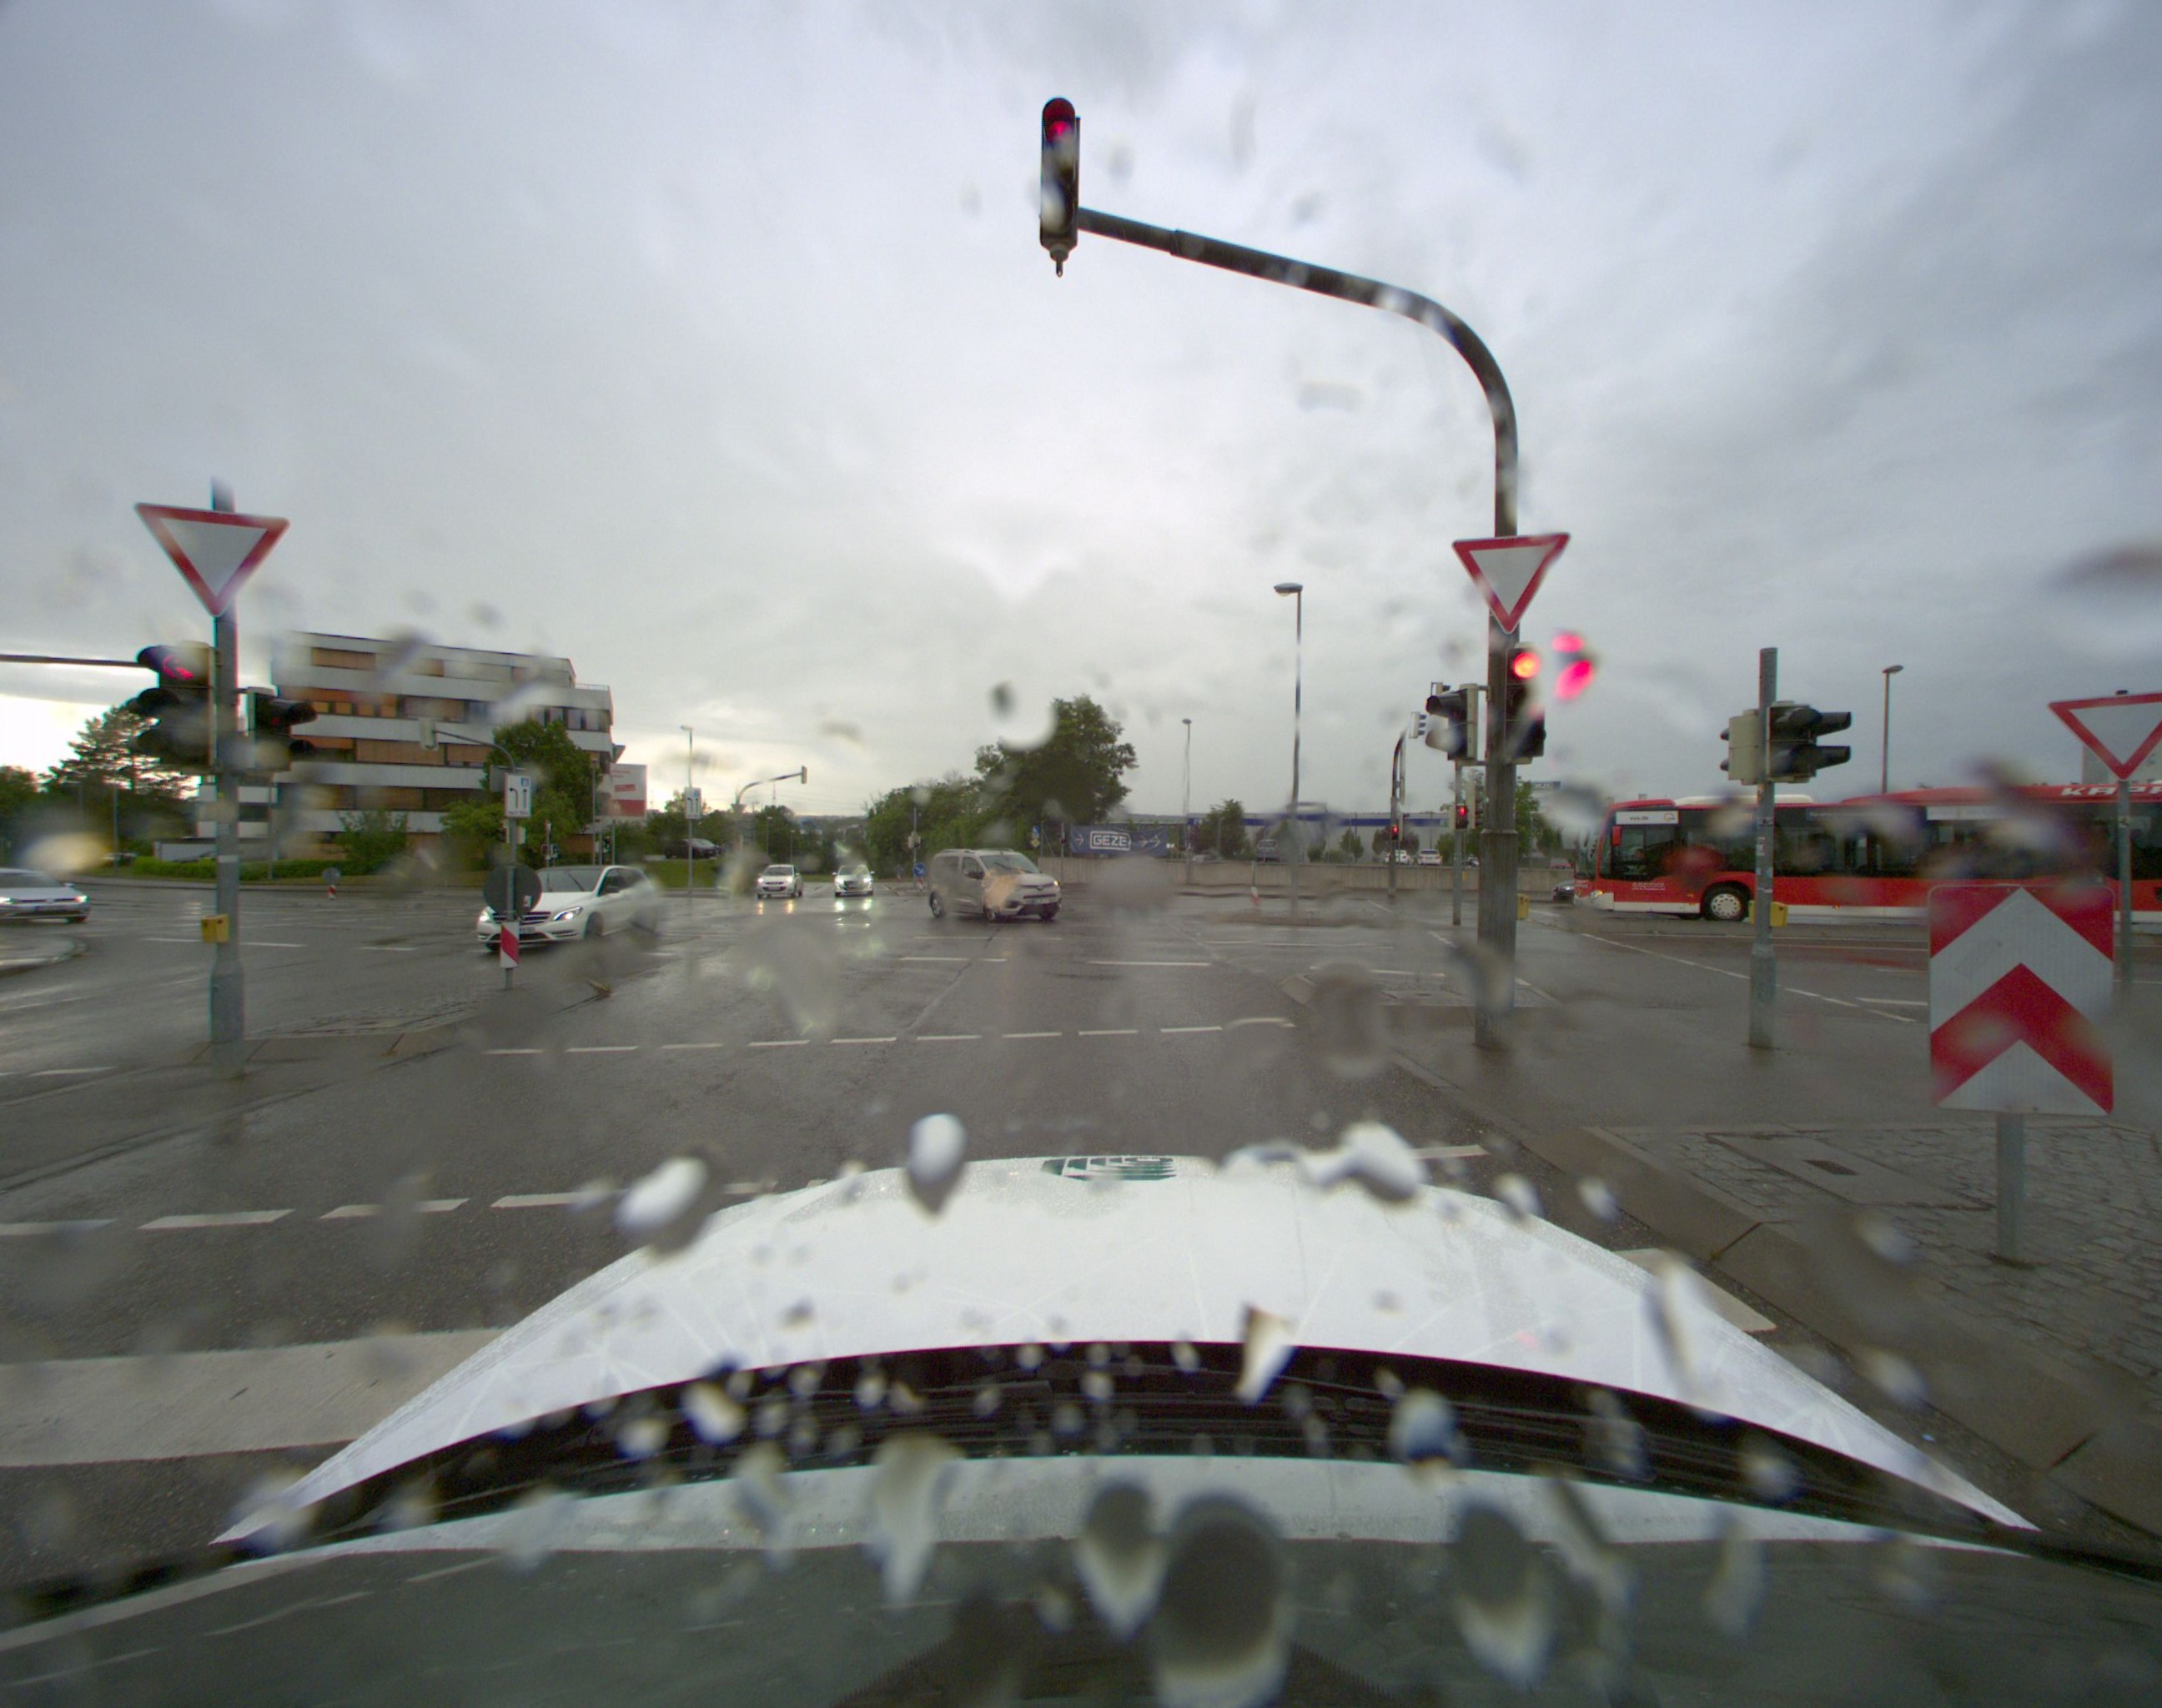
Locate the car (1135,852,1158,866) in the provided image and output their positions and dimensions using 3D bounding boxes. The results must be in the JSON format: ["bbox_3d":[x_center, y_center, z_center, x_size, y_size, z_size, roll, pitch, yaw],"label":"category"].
[{"bbox_3d":[7.761,0.574,95.903,1.651,1.606,3.550,-1,-1,23],"label":"car"}]

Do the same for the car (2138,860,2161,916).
[{"bbox_3d":[31.675,0.946,21.488,4.344,1.538,1.834,0,0,18],"label":"car"}]

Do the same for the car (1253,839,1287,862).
[{"bbox_3d":[13.347,-0.248,57.286,1.727,1.553,3.550,-1,-1,23],"label":"car"}]

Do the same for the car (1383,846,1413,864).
[{"bbox_3d":[26.467,0.103,67.886,1.800,1.434,4.128,-1,-1,28],"label":"car"}]

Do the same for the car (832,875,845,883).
[{"bbox_3d":[-43.804,4.478,147.166,1.660,1.494,3.989,0,-1,-7],"label":"car"}]

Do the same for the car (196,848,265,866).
[{"bbox_3d":[-70.119,0.218,67.224,3.779,1.399,1.977,0,0,-40],"label":"car"}]

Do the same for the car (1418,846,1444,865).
[{"bbox_3d":[28.895,0.125,67.196,1.841,1.526,4.127,-1,-1,25],"label":"car"}]

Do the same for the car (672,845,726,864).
[{"bbox_3d":[-33.931,0.032,72.397,3.958,1.586,1.909,0,-2,14],"label":"car"}]

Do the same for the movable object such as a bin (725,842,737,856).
[{"bbox_3d":[-37.766,-0.525,87.887,1.089,1.437,1.434,1,-3,-25],"label":"movable object such as a bin"}]

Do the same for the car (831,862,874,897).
[{"bbox_3d":[-10.822,1.154,38.431,1.870,1.508,3.957,0,-1,-17],"label":"car"}]

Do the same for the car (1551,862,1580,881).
[{"bbox_3d":[43.217,1.518,72.708,1.905,1.589,3.811,0,0,25],"label":"car"}]

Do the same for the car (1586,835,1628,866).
[{"bbox_3d":[35.361,-0.215,54.786,1.727,2.014,3.844,-1,-1,23],"label":"car"}]

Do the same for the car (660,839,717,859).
[{"bbox_3d":[-33.433,-0.434,69.352,3.962,1.586,1.907,0,-2,10],"label":"car"}]

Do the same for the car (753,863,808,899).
[{"bbox_3d":[-14.035,1.216,38.262,1.619,1.505,3.811,-2,0,-8],"label":"car"}]

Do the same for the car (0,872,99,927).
[{"bbox_3d":[-28.744,1.172,21.775,4.479,1.363,1.771,-1,-1,20],"label":"car"}]

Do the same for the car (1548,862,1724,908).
[{"bbox_3d":[17.650,0.956,26.154,4.344,1.354,1.834,0,0,18],"label":"car"}]

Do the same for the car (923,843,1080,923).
[{"bbox_3d":[-2.186,0.695,21.224,2.010,1.844,4.432,0,-1,-38],"label":"car"}]

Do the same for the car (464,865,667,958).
[{"bbox_3d":[-10.015,1.017,16.267,1.663,1.505,4.312,-2,0,-7],"label":"car"}]

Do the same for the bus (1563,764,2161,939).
[{"bbox_3d":[18.743,-0.144,19.327,12.152,3.576,3.001,2,0,19],"label":"bus"}]

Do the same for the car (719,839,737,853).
[{"bbox_3d":[-41.485,-0.874,95.566,1.836,1.442,3.967,1,-2,-25],"label":"car"}]

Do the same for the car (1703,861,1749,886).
[{"bbox_3d":[53.032,1.560,67.059,1.976,2.014,4.022,-1,-1,24],"label":"car"}]
